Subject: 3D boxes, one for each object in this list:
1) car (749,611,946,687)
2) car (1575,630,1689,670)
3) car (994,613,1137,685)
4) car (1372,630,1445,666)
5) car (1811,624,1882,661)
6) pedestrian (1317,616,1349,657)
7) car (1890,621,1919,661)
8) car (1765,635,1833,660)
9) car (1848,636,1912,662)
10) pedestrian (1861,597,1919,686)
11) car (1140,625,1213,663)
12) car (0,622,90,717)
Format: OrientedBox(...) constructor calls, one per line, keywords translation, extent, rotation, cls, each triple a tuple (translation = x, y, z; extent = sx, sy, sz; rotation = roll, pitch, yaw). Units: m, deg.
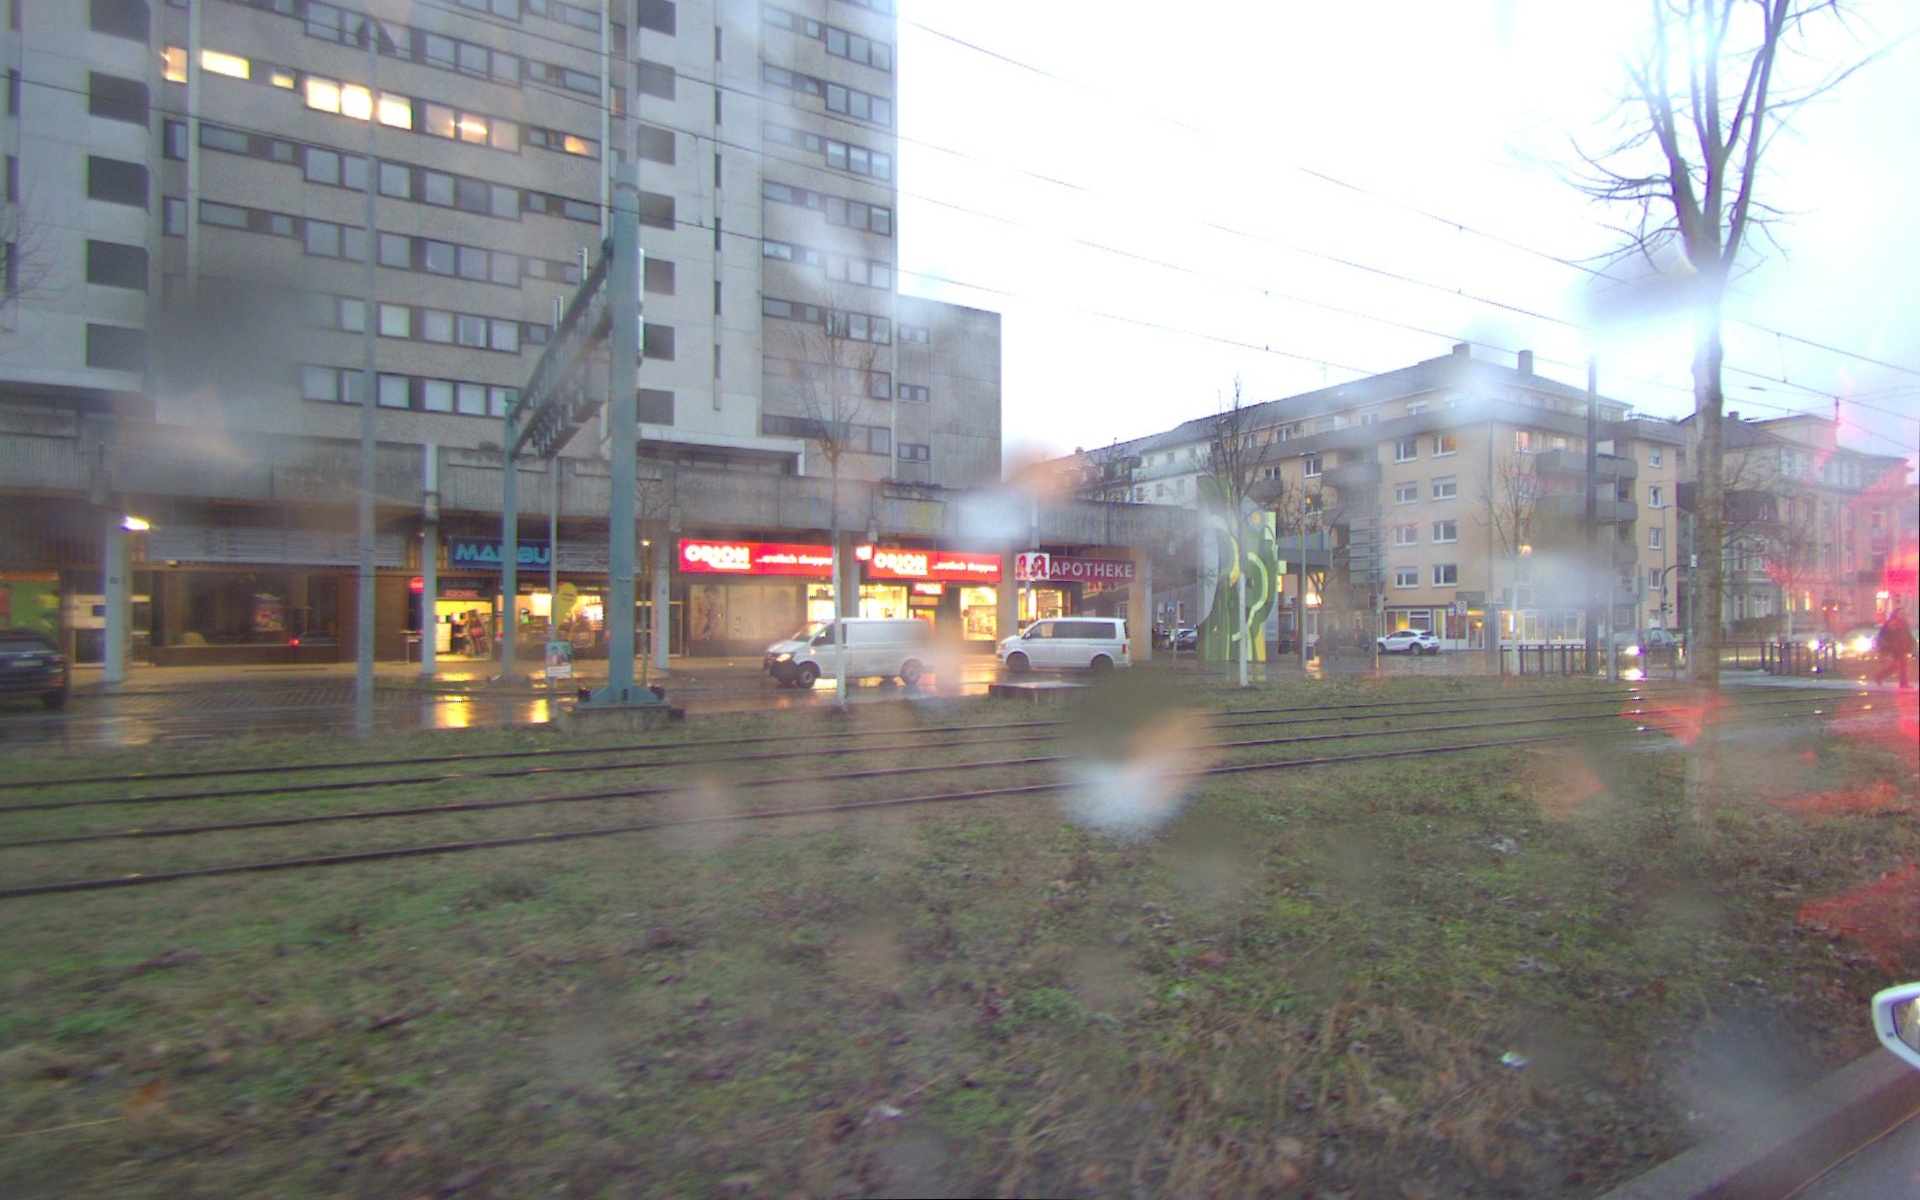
OrientedBox(translation=(-3.339, 1.452, 30.066), extent=(5.490, 2.073, 1.987), rotation=(1, 0, -26), cls="car")
OrientedBox(translation=(25.107, 1.856, 37.487), extent=(4.265, 1.350, 1.850), rotation=(1, 0, -30), cls="car")
OrientedBox(translation=(3.752, 1.674, 35.602), extent=(4.734, 2.274, 2.001), rotation=(2, 0, 15), cls="car")
OrientedBox(translation=(27.991, 2.962, 62.762), extent=(1.825, 1.968, 3.720), rotation=(1, 0, -37), cls="car")
OrientedBox(translation=(52.275, 2.488, 59.198), extent=(3.953, 2.040, 1.984), rotation=(1, 0, -30), cls="car")
OrientedBox(translation=(18.464, 1.796, 49.752), extent=(1.253, 2.040, 1.004), rotation=(-1, -1, 37), cls="pedestrian")
OrientedBox(translation=(40.904, 1.726, 41.942), extent=(3.954, 1.624, 1.983), rotation=(1, 0, -31), cls="car")
OrientedBox(translation=(45.231, 2.525, 54.134), extent=(3.493, 1.294, 1.683), rotation=(1, -1, -29), cls="car")
OrientedBox(translation=(48.048, 2.537, 52.443), extent=(4.108, 1.294, 1.679), rotation=(1, -1, -36), cls="car")
OrientedBox(translation=(21.962, 0.973, 23.639), extent=(0.991, 2.040, 0.959), rotation=(-1, -1, 35), cls="pedestrian")
OrientedBox(translation=(12.567, 2.544, 58.257), extent=(3.829, 2.040, 1.884), rotation=(1, 0, -30), cls="car")
OrientedBox(translation=(-20.617, 1.413, 21.286), extent=(4.067, 1.716, 1.982), rotation=(2, 0, 28), cls="car")
